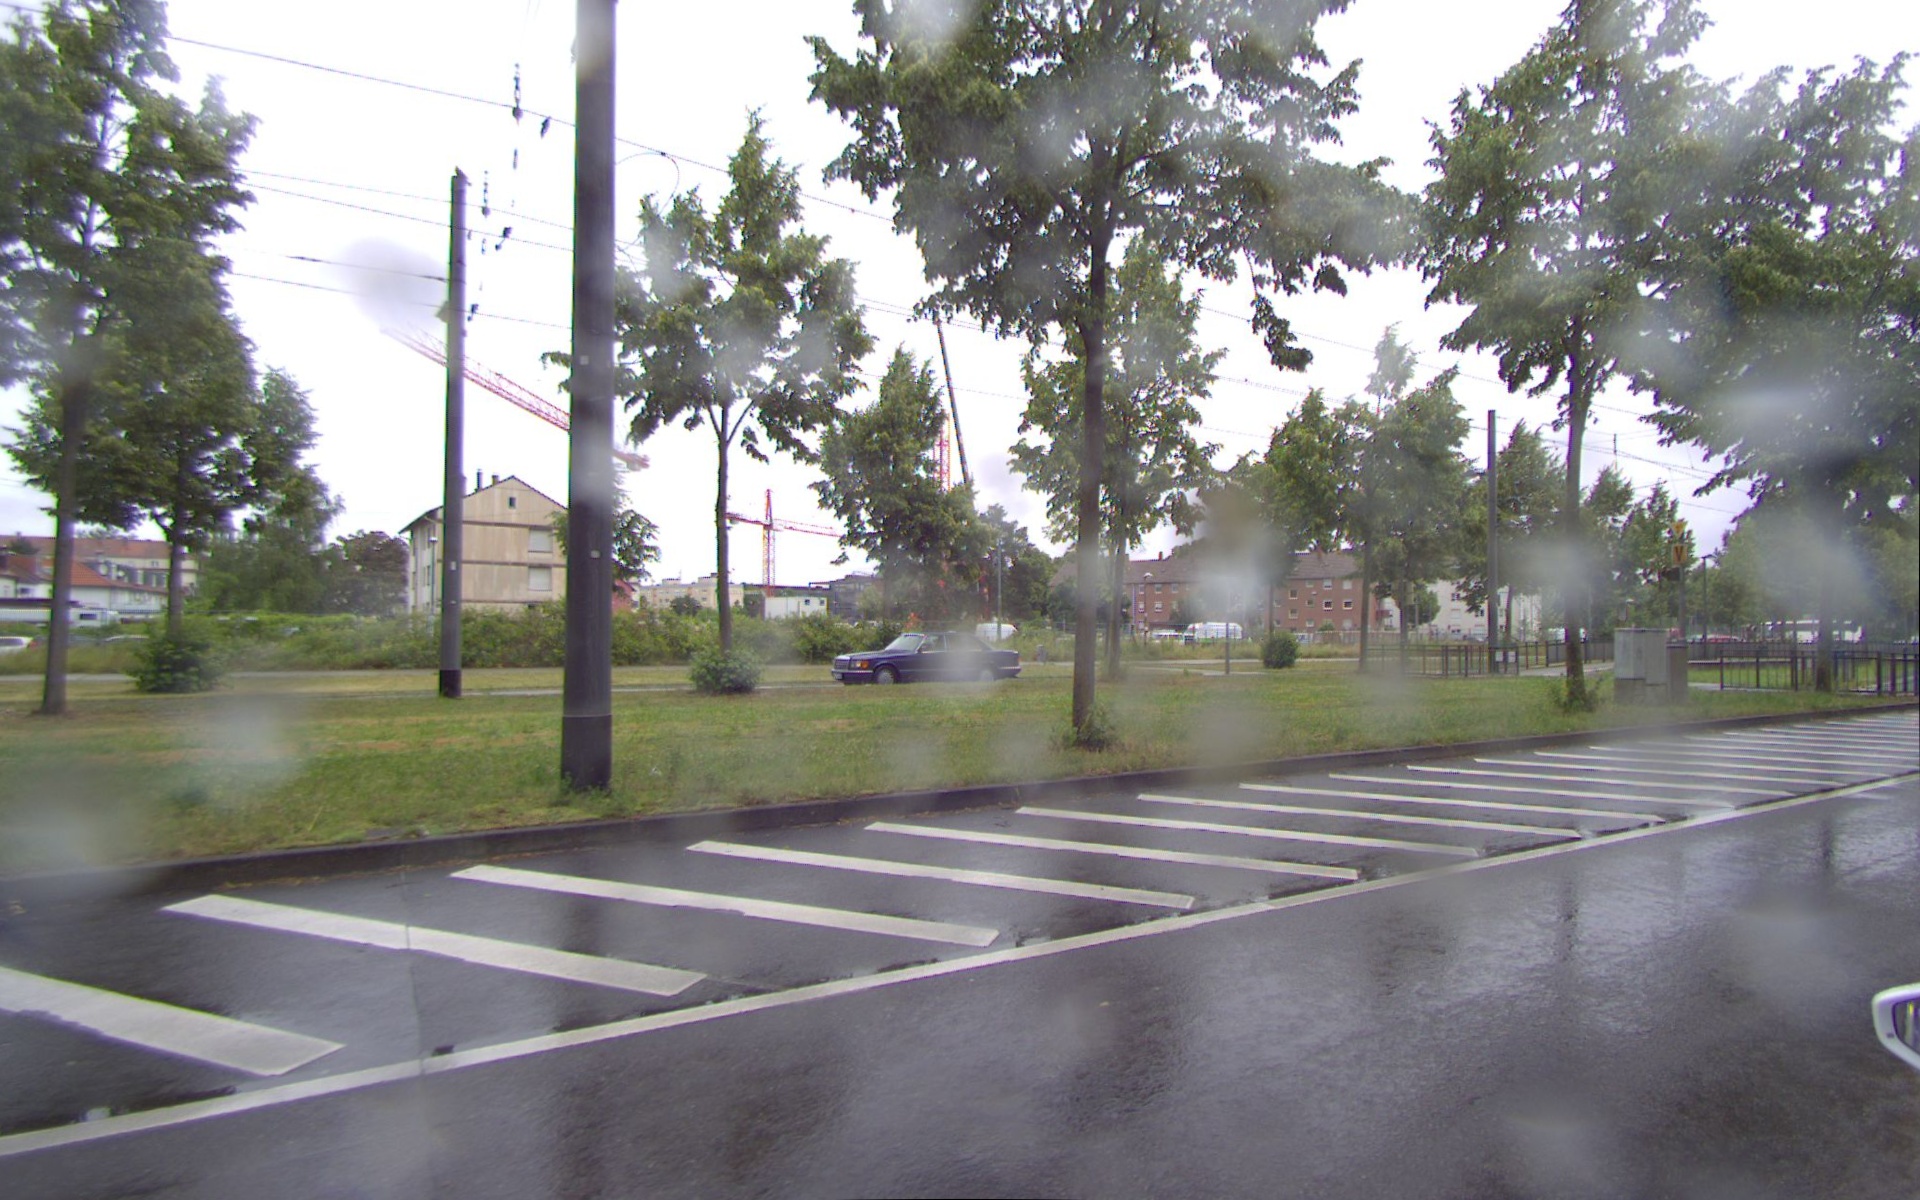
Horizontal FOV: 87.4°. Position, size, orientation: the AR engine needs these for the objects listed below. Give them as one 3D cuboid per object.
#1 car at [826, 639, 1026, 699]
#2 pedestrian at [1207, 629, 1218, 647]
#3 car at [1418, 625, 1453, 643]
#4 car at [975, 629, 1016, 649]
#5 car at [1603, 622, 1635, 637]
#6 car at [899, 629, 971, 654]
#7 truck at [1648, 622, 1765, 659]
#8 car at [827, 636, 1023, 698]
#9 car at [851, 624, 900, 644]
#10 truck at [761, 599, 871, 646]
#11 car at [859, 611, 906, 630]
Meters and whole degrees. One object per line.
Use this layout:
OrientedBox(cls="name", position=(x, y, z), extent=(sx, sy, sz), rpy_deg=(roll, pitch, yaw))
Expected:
OrientedBox(cls="car", position=(-0.781, 1.656, 24.995), extent=(4.923, 1.315, 1.480), rpy_deg=(0, -2, -33))
OrientedBox(cls="pedestrian", position=(24.237, 3.678, 96.431), extent=(0.691, 1.694, 0.671), rpy_deg=(-1, -1, -40))
OrientedBox(cls="car", position=(57.709, 4.093, 121.838), extent=(3.956, 2.040, 1.983), rpy_deg=(-1, -1, -33))
OrientedBox(cls="car", position=(3.590, 3.912, 100.705), extent=(3.971, 1.840, 1.807), rpy_deg=(-1, -1, -43))
OrientedBox(cls="car", position=(86.921, 3.907, 132.477), extent=(3.484, 1.762, 1.701), rpy_deg=(-3, -1, 35))
OrientedBox(cls="car", position=(-2.141, 3.540, 86.276), extent=(5.942, 1.840, 2.073), rpy_deg=(-1, -1, -34))
OrientedBox(cls="truck", position=(100.760, 5.516, 135.893), extent=(12.277, 4.653, 3.394), rpy_deg=(-3, -1, 32))
OrientedBox(cls="car", position=(-0.796, 1.607, 25.008), extent=(4.802, 1.283, 1.539), rpy_deg=(0, -2, -35))
OrientedBox(cls="car", position=(-7.238, 2.938, 86.207), extent=(3.771, 1.539, 1.731), rpy_deg=(-1, -1, -33))
OrientedBox(cls="truck", position=(-18.088, 2.825, 127.480), extent=(6.104, 5.467, 13.259), rpy_deg=(-3, -1, 37))
OrientedBox(cls="car", position=(-9.307, 2.443, 121.105), extent=(5.465, 2.040, 1.979), rpy_deg=(-1, -1, -37))
